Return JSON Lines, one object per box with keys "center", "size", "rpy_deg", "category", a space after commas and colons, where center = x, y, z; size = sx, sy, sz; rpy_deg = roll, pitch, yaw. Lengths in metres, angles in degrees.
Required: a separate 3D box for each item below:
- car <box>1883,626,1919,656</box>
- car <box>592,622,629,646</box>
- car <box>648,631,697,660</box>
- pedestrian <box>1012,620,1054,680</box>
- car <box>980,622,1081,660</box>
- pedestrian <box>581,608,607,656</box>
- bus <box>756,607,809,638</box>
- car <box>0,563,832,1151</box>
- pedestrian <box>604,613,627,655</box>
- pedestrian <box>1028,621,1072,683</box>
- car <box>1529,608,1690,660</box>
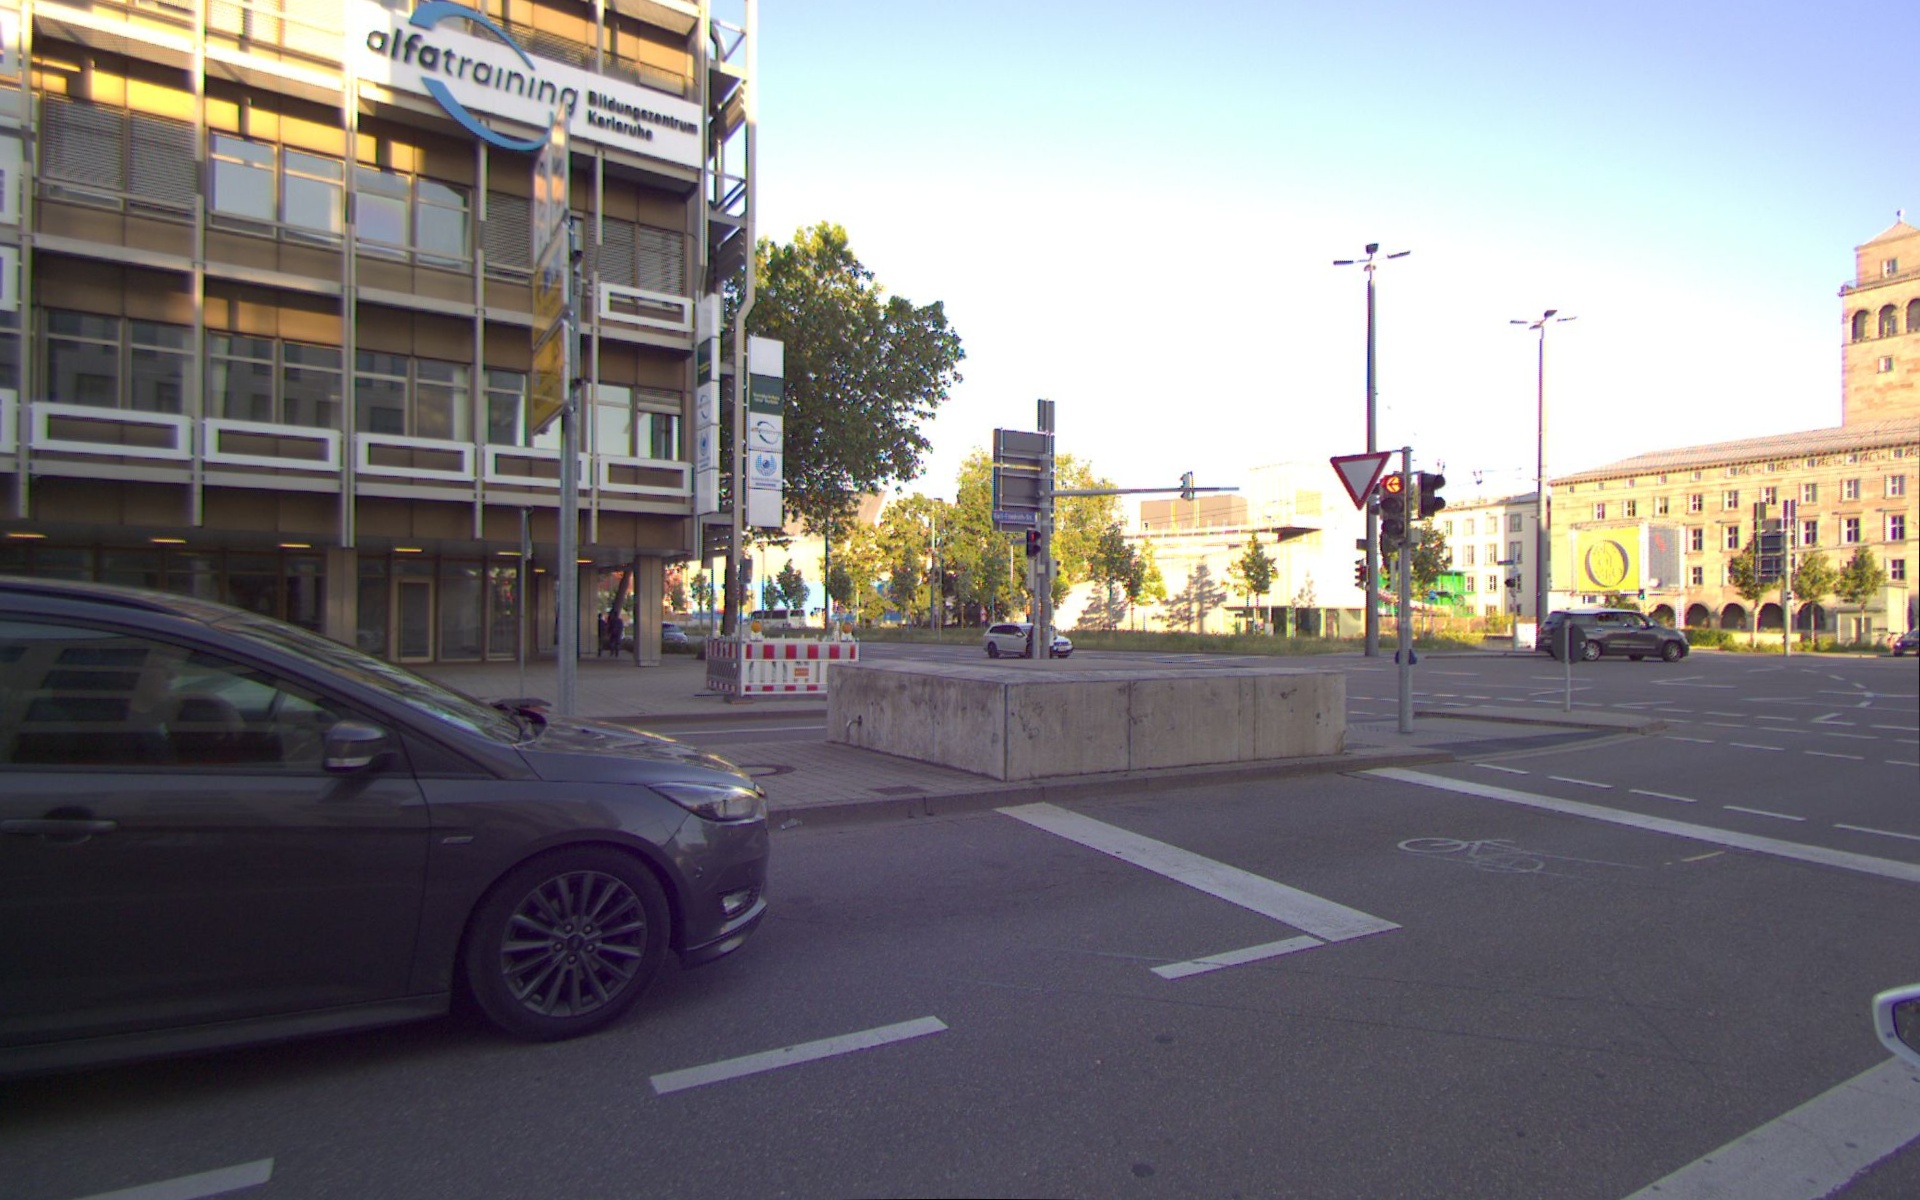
{"center": [51.152, 2.174, 53.585], "size": [4.111, 1.485, 1.813], "rpy_deg": [0, -1, -32], "category": "car"}
{"center": [-24.367, 2.357, 69.946], "size": [1.722, 1.605, 3.764], "rpy_deg": [0, -1, -31], "category": "car"}
{"center": [-16.841, 2.622, 58.744], "size": [1.722, 1.605, 4.554], "rpy_deg": [0, -1, -30], "category": "car"}
{"center": [2.159, 1.459, 29.615], "size": [0.949, 1.744, 0.816], "rpy_deg": [1, -1, -34], "category": "pedestrian"}
{"center": [2.867, 1.677, 41.995], "size": [1.832, 1.476, 4.549], "rpy_deg": [0, -1, -34], "category": "car"}
{"center": [-14.153, 1.224, 38.859], "size": [0.749, 1.830, 0.715], "rpy_deg": [2, 0, -35], "category": "pedestrian"}
{"center": [-23.058, 2.861, 130.118], "size": [2.959, 3.818, 10.341], "rpy_deg": [1, -1, -34], "category": "bus"}
{"center": [-2.768, 0.636, 3.325], "size": [4.330, 1.482, 1.748], "rpy_deg": [1, 1, -31], "category": "car"}
{"center": [-13.424, 1.320, 39.118], "size": [0.660, 1.606, 0.715], "rpy_deg": [2, 0, -34], "category": "pedestrian"}
{"center": [2.582, 1.468, 28.835], "size": [0.949, 1.744, 0.816], "rpy_deg": [1, -1, -34], "category": "pedestrian"}
{"center": [20.681, 1.071, 32.086], "size": [4.053, 1.626, 1.744], "rpy_deg": [0, -1, -1], "category": "car"}
